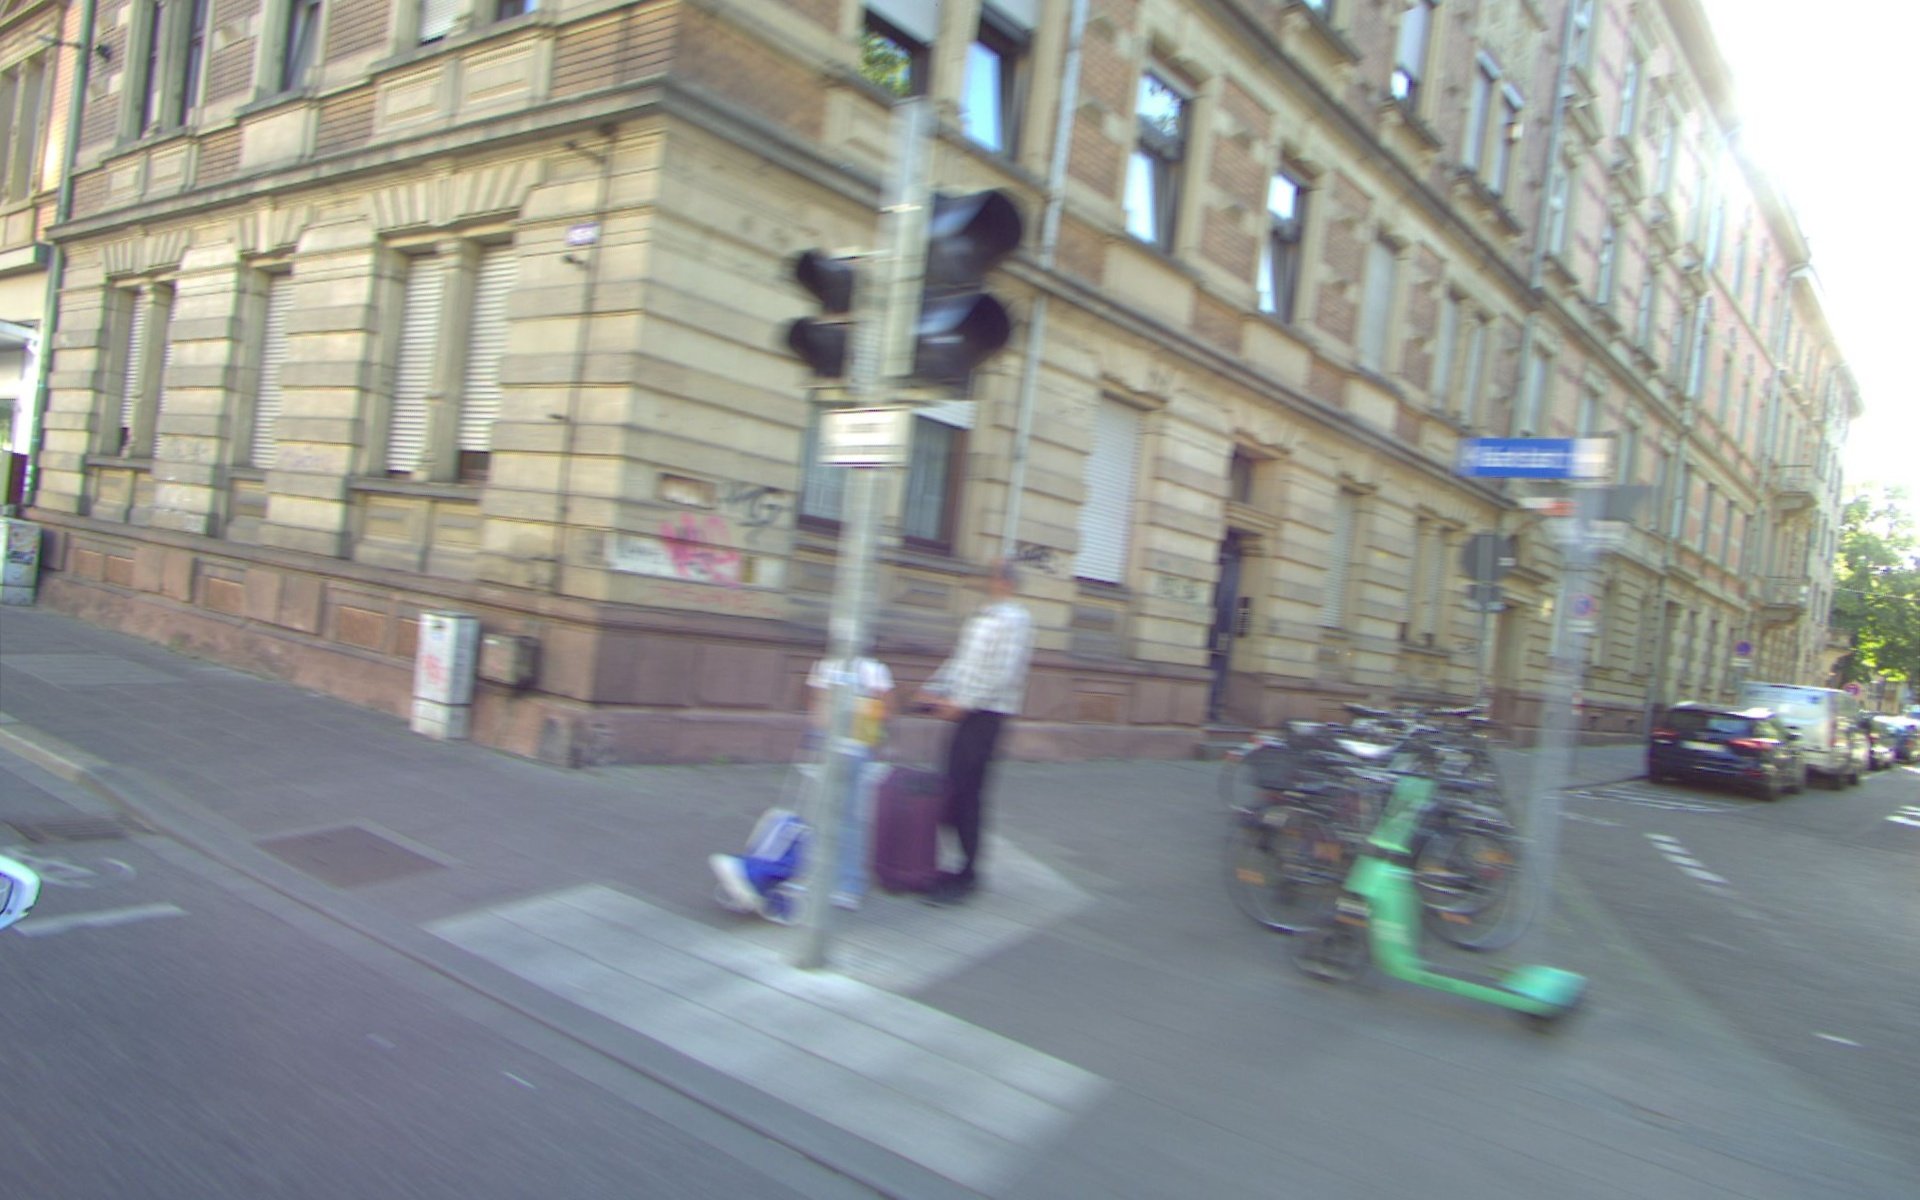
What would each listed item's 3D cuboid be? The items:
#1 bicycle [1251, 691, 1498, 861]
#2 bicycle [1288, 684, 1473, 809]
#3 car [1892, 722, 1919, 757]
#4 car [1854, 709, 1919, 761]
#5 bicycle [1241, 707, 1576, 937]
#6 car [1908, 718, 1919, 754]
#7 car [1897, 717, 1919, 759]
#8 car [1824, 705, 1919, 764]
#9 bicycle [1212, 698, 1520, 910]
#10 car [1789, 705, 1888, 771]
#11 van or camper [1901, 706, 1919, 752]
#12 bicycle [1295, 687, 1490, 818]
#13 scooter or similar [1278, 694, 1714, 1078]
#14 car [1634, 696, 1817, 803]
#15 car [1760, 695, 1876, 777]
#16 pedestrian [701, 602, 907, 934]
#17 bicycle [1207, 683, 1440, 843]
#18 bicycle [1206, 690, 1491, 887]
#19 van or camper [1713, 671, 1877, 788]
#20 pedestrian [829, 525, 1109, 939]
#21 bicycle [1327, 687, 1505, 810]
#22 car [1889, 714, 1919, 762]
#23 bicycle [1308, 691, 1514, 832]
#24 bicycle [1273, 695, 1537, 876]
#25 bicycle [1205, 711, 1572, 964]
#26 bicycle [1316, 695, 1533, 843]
[{"bbox_3d":[3.363,1.423,8.184,1.784,1.129,0.443,8,0,-9],"label":"bicycle"},{"bbox_3d":[4.729,1.641,11.364,1.781,1.129,0.444,7,0,0],"label":"bicycle"},{"bbox_3d":[57.333,8.398,60.064,3.973,1.822,1.976,7,0,-42],"label":"car"},{"bbox_3d":[36.409,5.313,39.154,3.978,1.591,1.976,10,-3,-43],"label":"car"},{"bbox_3d":[2.698,1.333,6.090,1.784,1.129,0.443,7,0,-9],"label":"bicycle"},{"bbox_3d":[62.206,8.800,64.206,3.973,2.204,1.976,7,0,-42],"label":"car"},{"bbox_3d":[50.539,7.301,52.487,3.973,2.038,1.976,7,0,-42],"label":"car"},{"bbox_3d":[30.781,4.564,33.922,3.978,1.483,1.976,10,-3,-43],"label":"car"},{"bbox_3d":[2.643,1.328,6.577,1.784,1.129,0.443,8,0,-9],"label":"bicycle"},{"bbox_3d":[26.034,4.080,29.760,3.987,1.584,1.808,8,-2,-44],"label":"car"},{"bbox_3d":[70.490,9.500,73.449,5.336,3.151,1.976,7,0,-42],"label":"van or camper"},{"bbox_3d":[4.620,1.623,10.806,1.781,1.129,0.444,7,0,0],"label":"bicycle"},{"bbox_3d":[2.263,1.179,4.410,1.493,1.305,0.391,7,1,16],"label":"scooter or similar"},{"bbox_3d":[13.446,2.583,17.582,4.164,1.453,1.761,8,-2,-43],"label":"car"},{"bbox_3d":[22.045,3.474,25.803,3.987,1.722,1.808,8,-2,-44],"label":"car"},{"bbox_3d":[-0.751,0.776,4.831,0.573,1.431,0.574,9,-1,-43],"label":"pedestrian"},{"bbox_3d":[3.119,1.400,8.661,1.784,1.129,0.443,8,0,-9],"label":"bicycle"},{"bbox_3d":[2.725,1.320,7.083,1.784,1.129,0.443,8,0,-9],"label":"bicycle"},{"bbox_3d":[17.867,2.760,21.450,4.360,2.004,1.934,8,-1,-42],"label":"van or camper"},{"bbox_3d":[0.050,0.618,5.121,0.838,1.830,0.872,9,1,41],"label":"pedestrian"},{"bbox_3d":[5.445,1.743,12.060,1.785,1.129,0.443,7,0,33],"label":"bicycle"},{"bbox_3d":[45.758,6.632,47.756,3.973,2.038,1.976,7,0,-42],"label":"car"},{"bbox_3d":[4.419,1.581,9.870,1.784,1.129,0.443,8,0,-9],"label":"bicycle"},{"bbox_3d":[3.393,1.411,7.694,1.784,1.129,0.443,8,0,-9],"label":"bicycle"},{"bbox_3d":[2.350,1.302,5.557,1.784,1.129,0.443,7,0,-9],"label":"bicycle"},{"bbox_3d":[4.311,1.568,9.362,1.784,1.129,0.443,8,0,-9],"label":"bicycle"}]
